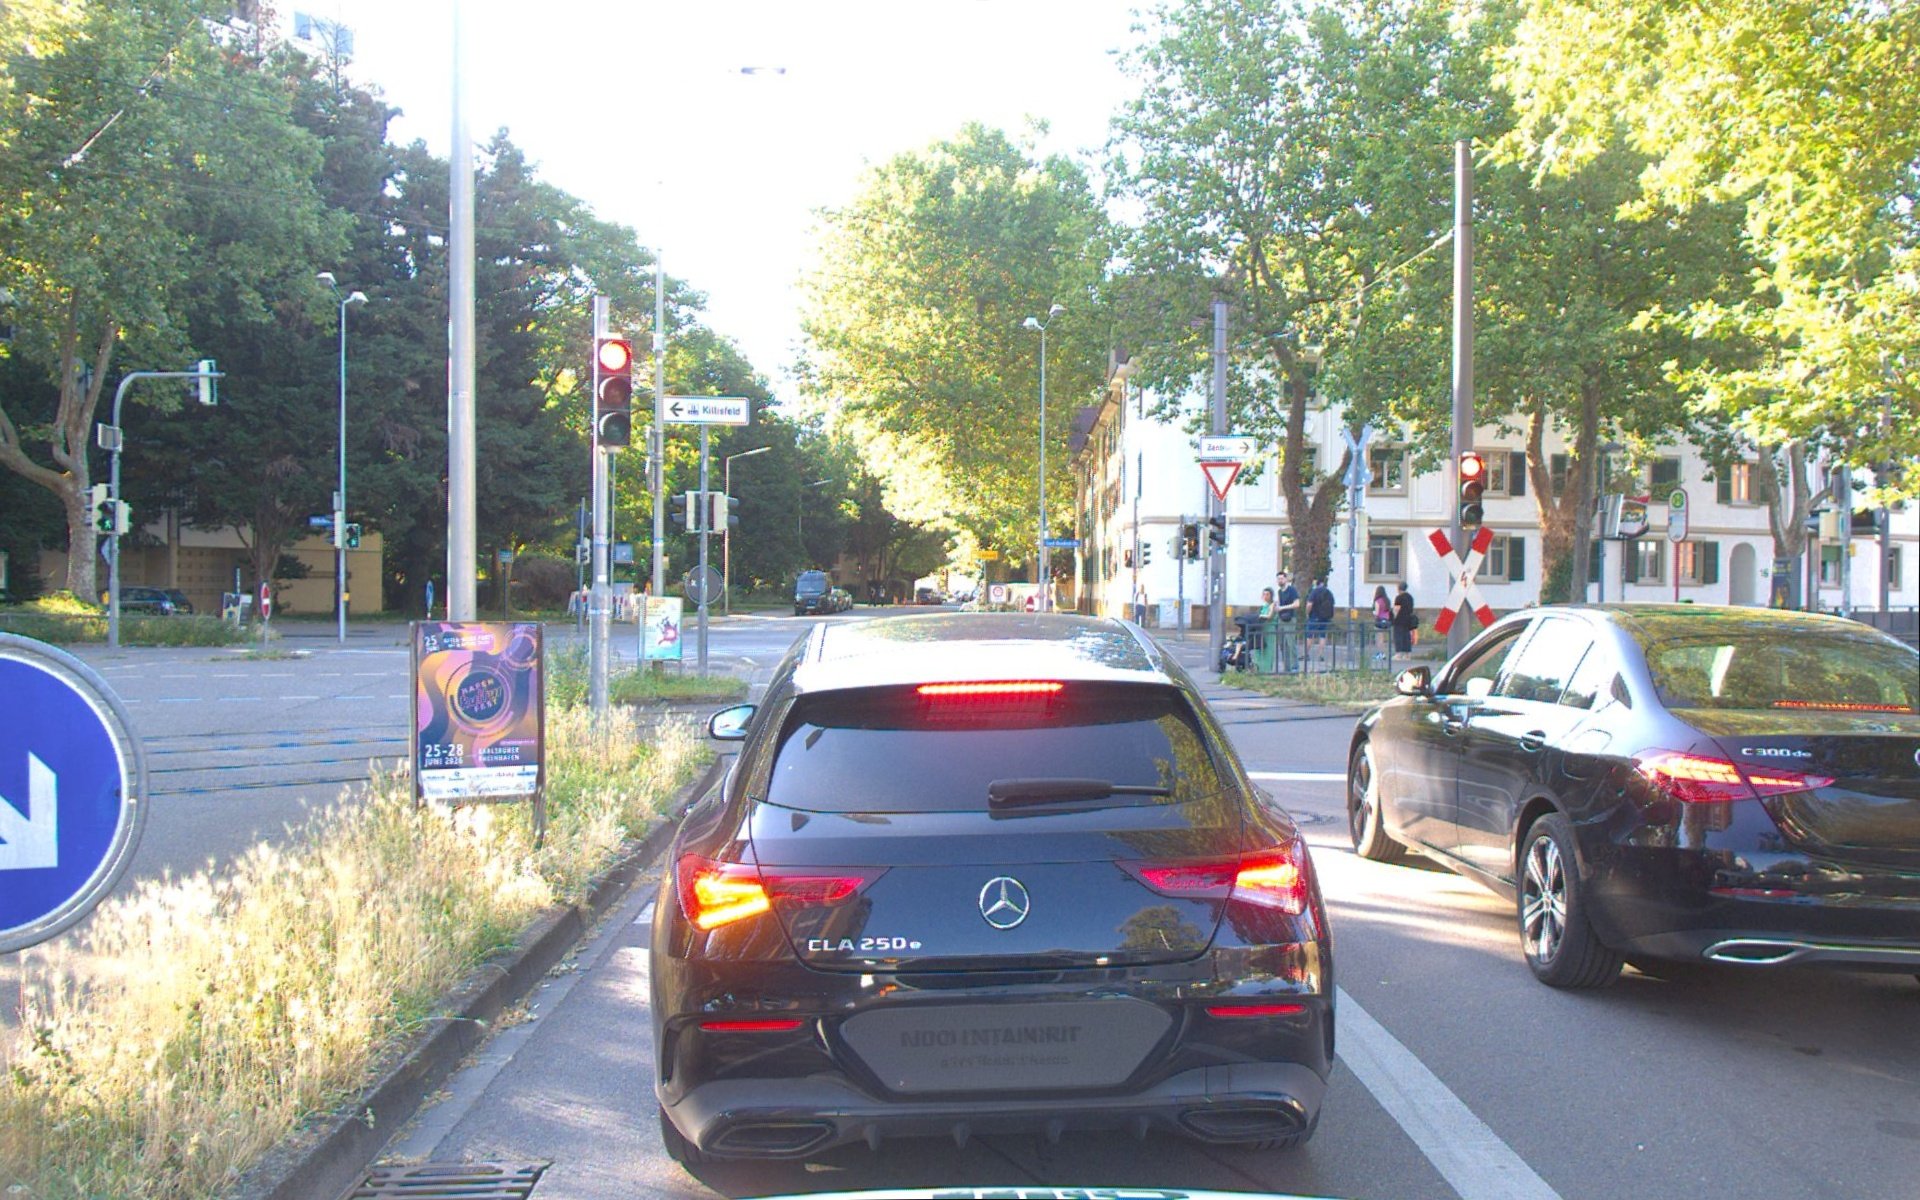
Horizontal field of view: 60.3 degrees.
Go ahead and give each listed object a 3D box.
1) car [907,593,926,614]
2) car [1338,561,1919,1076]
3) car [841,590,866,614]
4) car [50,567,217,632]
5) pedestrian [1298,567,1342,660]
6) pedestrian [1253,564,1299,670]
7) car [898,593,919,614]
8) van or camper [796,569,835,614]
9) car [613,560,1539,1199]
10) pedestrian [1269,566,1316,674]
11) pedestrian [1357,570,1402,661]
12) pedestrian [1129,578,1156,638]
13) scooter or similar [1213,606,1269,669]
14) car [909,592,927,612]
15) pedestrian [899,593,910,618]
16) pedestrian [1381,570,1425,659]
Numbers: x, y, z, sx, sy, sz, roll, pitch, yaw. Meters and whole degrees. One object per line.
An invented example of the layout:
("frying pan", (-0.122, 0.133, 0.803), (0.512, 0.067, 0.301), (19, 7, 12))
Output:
("car", (-3.945, 0.316, 150.313), (1.698, 1.796, 4.018), (1, 0, -1))
("car", (3.111, 0.640, 7.312), (1.851, 1.516, 4.382), (1, 2, 0))
("car", (-8.126, 0.144, 126.272), (1.698, 1.796, 3.970), (1, 0, -1))
("car", (-24.377, -0.006, 48.846), (3.902, 1.805, 2.001), (1, 0, 7))
("pedestrian", (7.694, 0.294, 35.420), (0.691, 1.951, 0.838), (1, -1, -4))
("pedestrian", (5.910, 0.309, 30.969), (0.669, 1.951, 0.706), (1, -1, -5))
("car", (-4.520, 0.347, 145.483), (1.698, 1.796, 4.018), (1, 0, -1))
("van or camper", (-8.652, -0.482, 99.609), (1.953, 2.586, 4.650), (1, 0, -1))
("car", (0.249, 0.655, 5.352), (1.851, 1.475, 4.001), (1, 2, 0))
("pedestrian", (6.067, 0.362, 30.199), (0.669, 1.951, 0.707), (1, -1, -3))
("pedestrian", (9.066, 0.331, 35.796), (0.691, 1.951, 0.838), (1, -1, -4))
("pedestrian", (5.966, 0.260, 54.069), (0.691, 1.951, 0.838), (1, -1, -4))
("scooter or similar", (5.116, 0.673, 30.142), (0.812, 1.124, 0.808), (1, 0, -6))
("car", (-3.992, 0.204, 158.396), (1.698, 1.796, 4.018), (1, 0, -1))
("pedestrian", (-4.357, 0.454, 129.948), (0.692, 1.951, 0.837), (1, -1, -11))
("pedestrian", (9.857, 0.318, 36.808), (0.691, 1.951, 0.838), (1, -1, -4))
